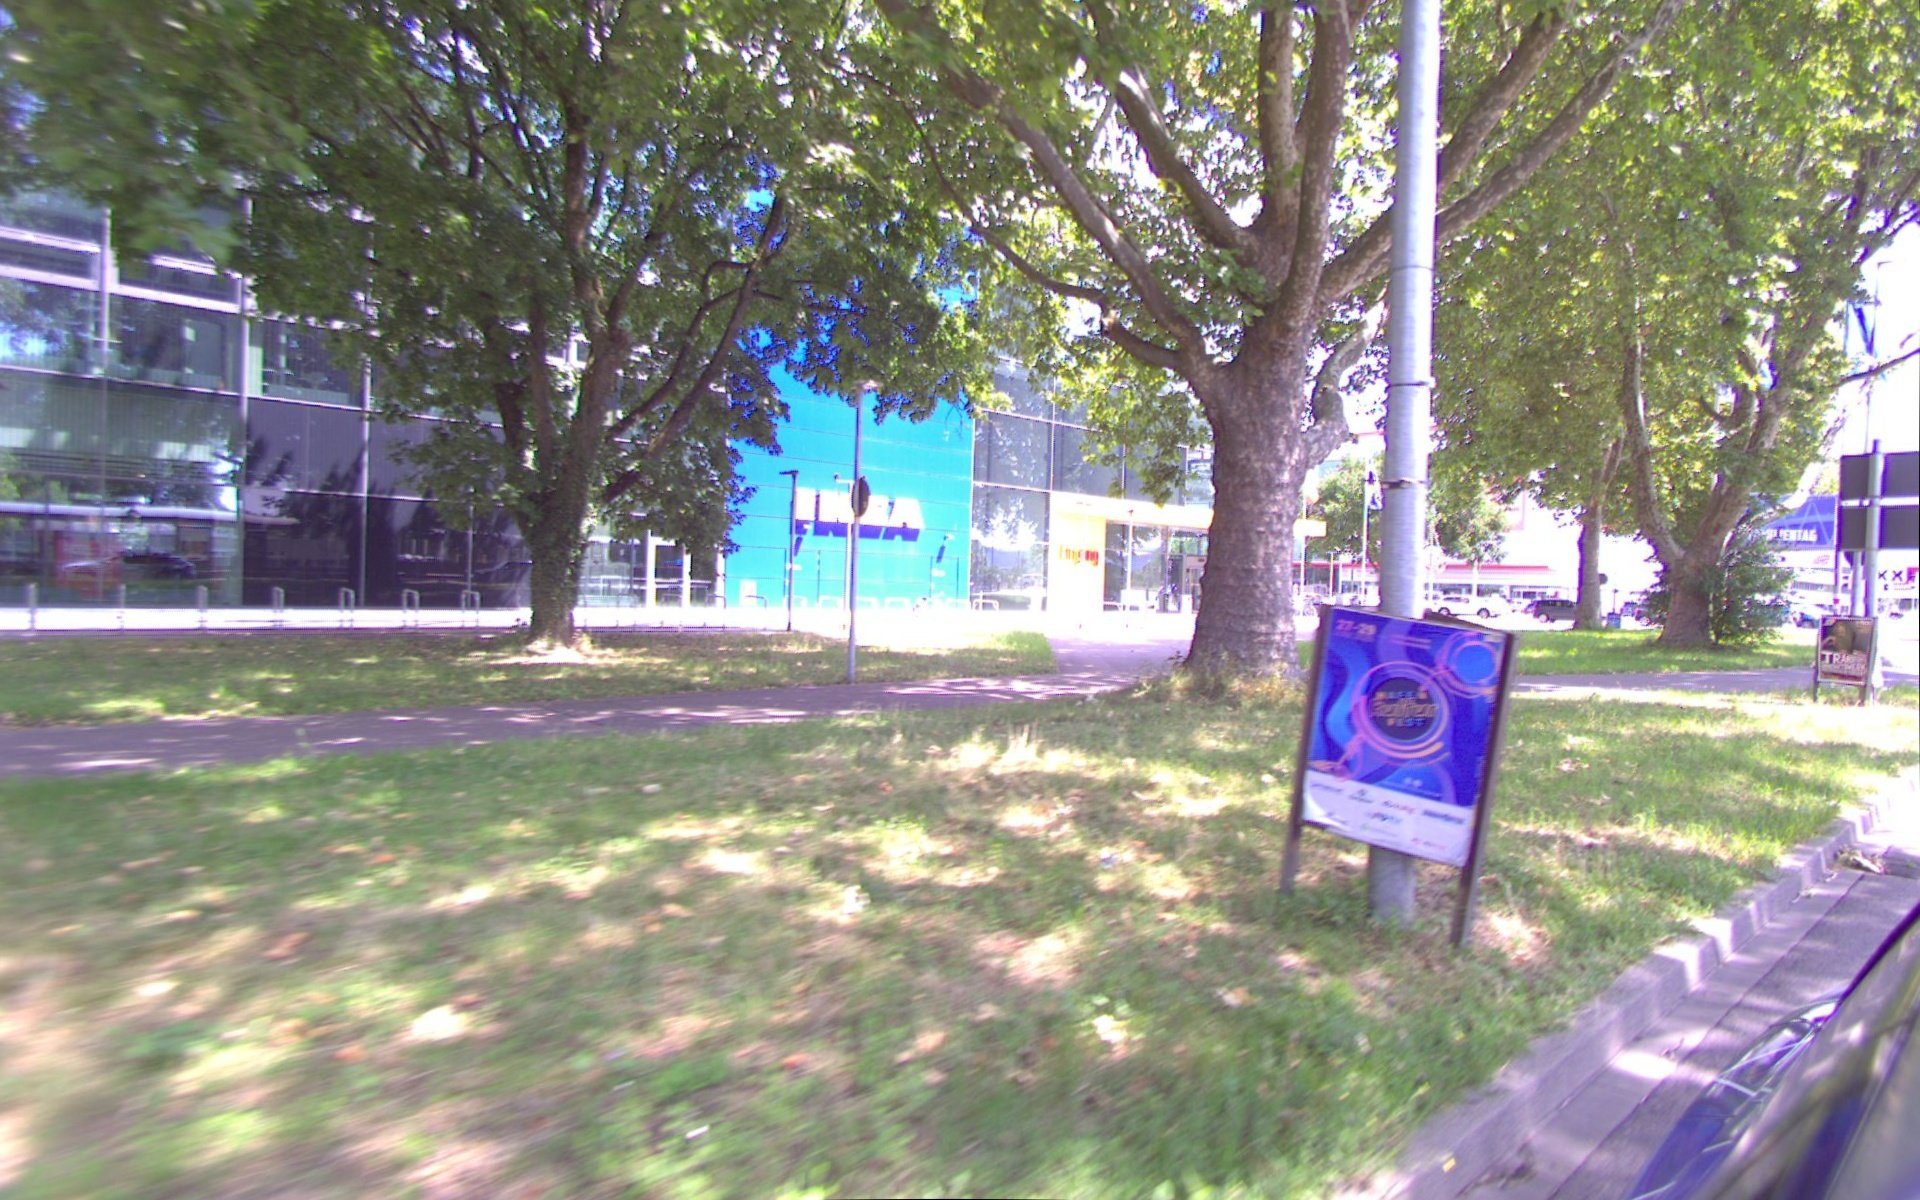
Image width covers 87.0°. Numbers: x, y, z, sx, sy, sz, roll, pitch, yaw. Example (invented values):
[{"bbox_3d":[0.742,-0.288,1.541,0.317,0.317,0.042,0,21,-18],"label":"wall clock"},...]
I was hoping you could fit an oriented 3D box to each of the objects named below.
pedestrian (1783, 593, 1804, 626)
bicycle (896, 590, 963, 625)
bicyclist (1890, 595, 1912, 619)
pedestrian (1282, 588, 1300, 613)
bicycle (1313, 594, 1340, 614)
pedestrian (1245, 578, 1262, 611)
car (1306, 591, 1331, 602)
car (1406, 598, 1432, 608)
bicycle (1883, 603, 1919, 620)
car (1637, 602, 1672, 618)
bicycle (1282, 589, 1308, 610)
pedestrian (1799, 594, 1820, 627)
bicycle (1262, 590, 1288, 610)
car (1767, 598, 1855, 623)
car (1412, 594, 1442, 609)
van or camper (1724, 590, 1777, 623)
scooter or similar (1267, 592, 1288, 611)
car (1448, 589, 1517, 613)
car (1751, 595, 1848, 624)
[{"bbox_3d":[43.058,0.490,52.277,0.848,1.658,0.604,1,1,-36],"label":"pedestrian"},{"bbox_3d":[-0.934,0.198,30.176,0.854,0.981,2.062,1,1,-43],"label":"bicycle"},{"bbox_3d":[69.280,0.533,74.515,0.799,1.722,0.801,1,1,-12],"label":"bicyclist"},{"bbox_3d":[21.611,0.004,66.043,0.623,1.606,0.918,1,0,-45],"label":"pedestrian"},{"bbox_3d":[21.818,0.253,60.216,0.798,1.159,2.401,1,1,36],"label":"bicycle"},{"bbox_3d":[15.153,-0.300,52.277,0.574,1.693,0.609,1,0,-27],"label":"pedestrian"},{"bbox_3d":[52.129,-0.468,147.202,3.928,1.546,1.693,0,0,-39],"label":"car"},{"bbox_3d":[61.087,0.388,134.672,3.928,1.327,1.693,0,0,-39],"label":"car"},{"bbox_3d":[69.300,0.837,74.435,0.814,1.176,1.883,1,1,-12],"label":"bicycle"},{"bbox_3d":[78.070,1.070,113.699,4.420,1.739,1.999,0,0,-38],"label":"car"},{"bbox_3d":[20.763,-0.041,62.694,0.798,1.213,2.401,3,2,36],"label":"bicycle"},{"bbox_3d":[43.454,0.514,51.750,0.848,1.658,0.608,1,1,-36],"label":"pedestrian"},{"bbox_3d":[19.713,-0.024,63.280,0.798,1.214,2.401,1,1,36],"label":"bicycle"},{"bbox_3d":[50.872,0.615,60.569,1.772,1.414,3.829,1,1,-42],"label":"car"},{"bbox_3d":[54.618,0.170,118.322,3.933,1.565,1.851,0,2,-43],"label":"car"},{"bbox_3d":[75.760,0.566,96.934,7.482,2.983,2.713,0,0,-42],"label":"van or camper"},{"bbox_3d":[20.967,0.098,66.833,0.716,1.213,1.075,0,0,-41],"label":"scooter or similar"},{"bbox_3d":[38.737,0.051,75.098,1.966,1.660,4.075,0,1,-42],"label":"car"},{"bbox_3d":[48.419,0.540,58.420,1.964,1.576,3.995,3,-2,-39],"label":"car"}]
